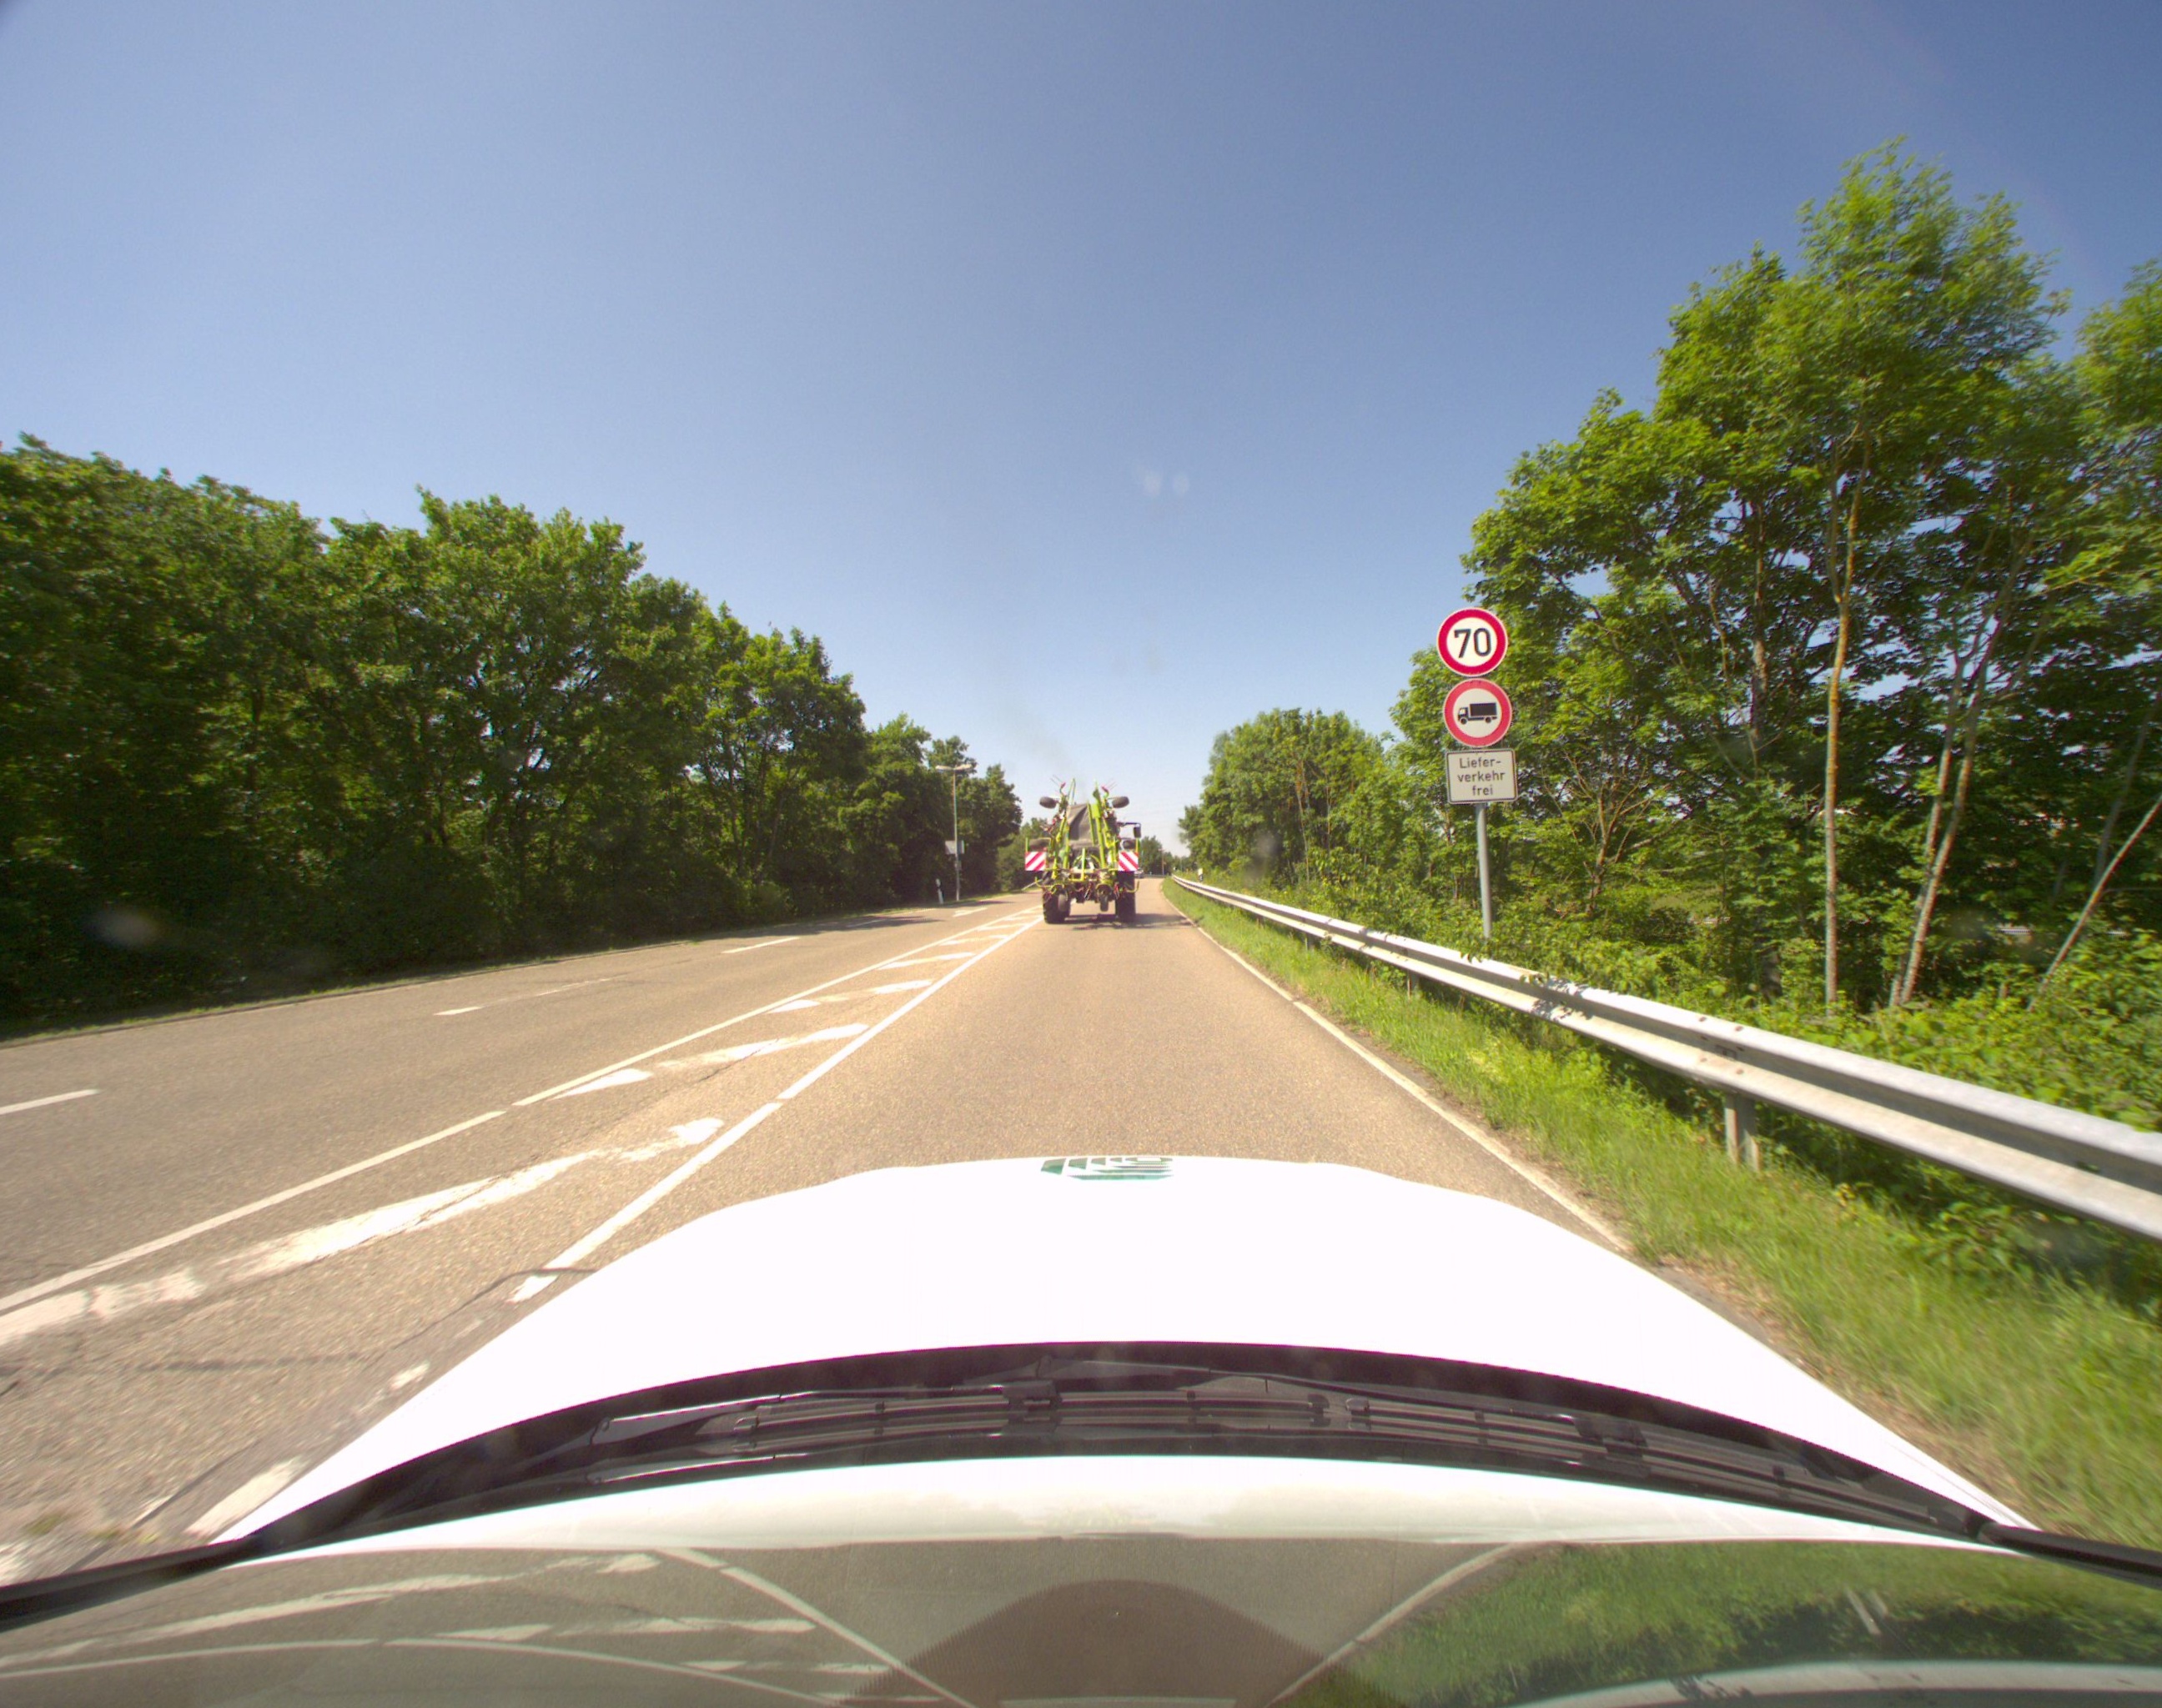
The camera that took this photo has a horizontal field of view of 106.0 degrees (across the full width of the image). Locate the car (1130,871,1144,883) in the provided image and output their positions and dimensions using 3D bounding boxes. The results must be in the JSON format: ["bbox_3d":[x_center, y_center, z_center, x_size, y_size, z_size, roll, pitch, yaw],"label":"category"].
[{"bbox_3d":[7.730,3.162,112.202,1.731,1.456,3.893,3,-2,5],"label":"car"}]

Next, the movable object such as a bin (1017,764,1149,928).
[{"bbox_3d":[0.240,-0.099,20.393,2.743,3.444,5.675,-2,-2,4],"label":"movable object such as a bin"}]
